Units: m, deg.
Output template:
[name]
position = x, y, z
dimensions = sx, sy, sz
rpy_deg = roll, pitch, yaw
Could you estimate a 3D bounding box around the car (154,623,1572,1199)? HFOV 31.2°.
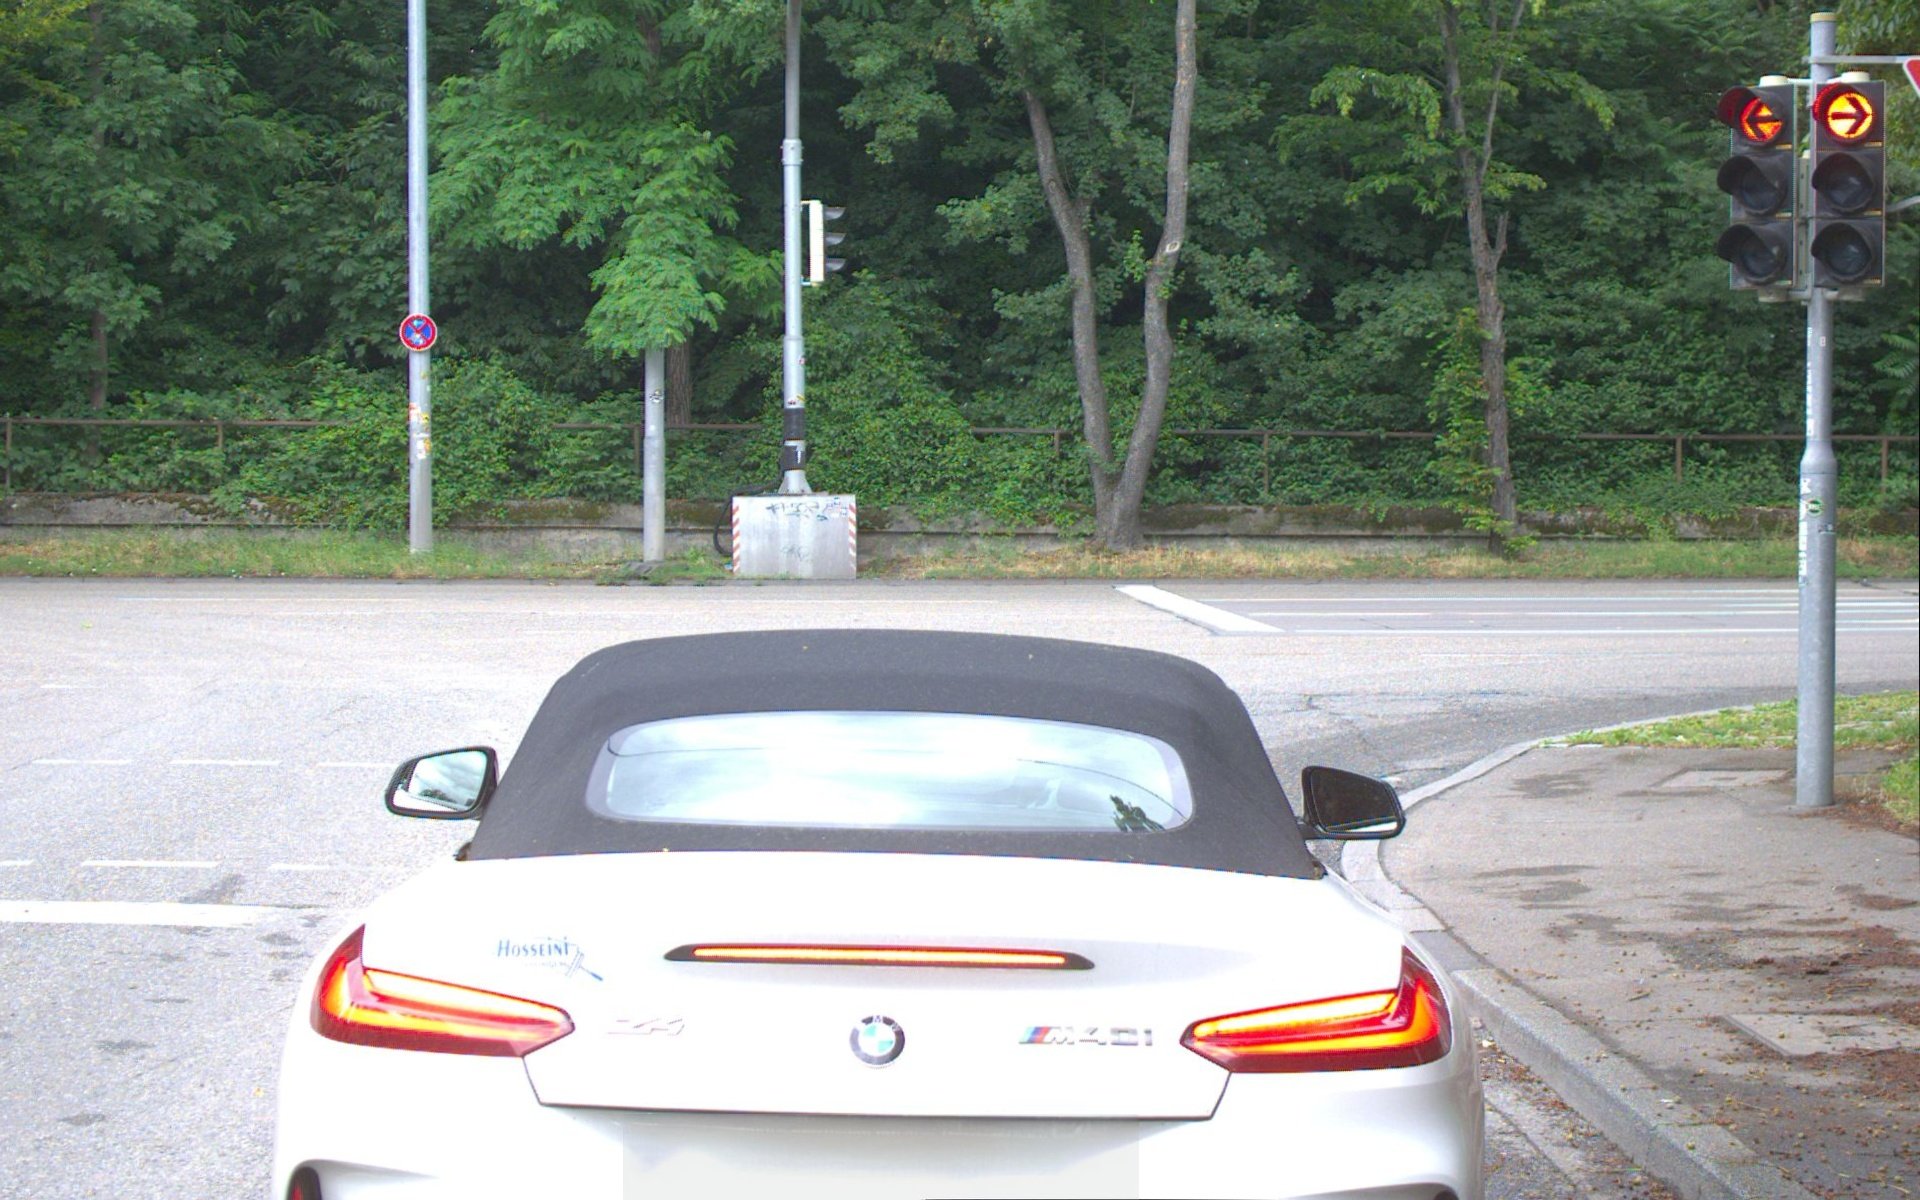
[car]
position = -0.218, 0.697, 6.473
dimensions = 1.827, 1.253, 4.000
rpy_deg = 2, 0, -3
